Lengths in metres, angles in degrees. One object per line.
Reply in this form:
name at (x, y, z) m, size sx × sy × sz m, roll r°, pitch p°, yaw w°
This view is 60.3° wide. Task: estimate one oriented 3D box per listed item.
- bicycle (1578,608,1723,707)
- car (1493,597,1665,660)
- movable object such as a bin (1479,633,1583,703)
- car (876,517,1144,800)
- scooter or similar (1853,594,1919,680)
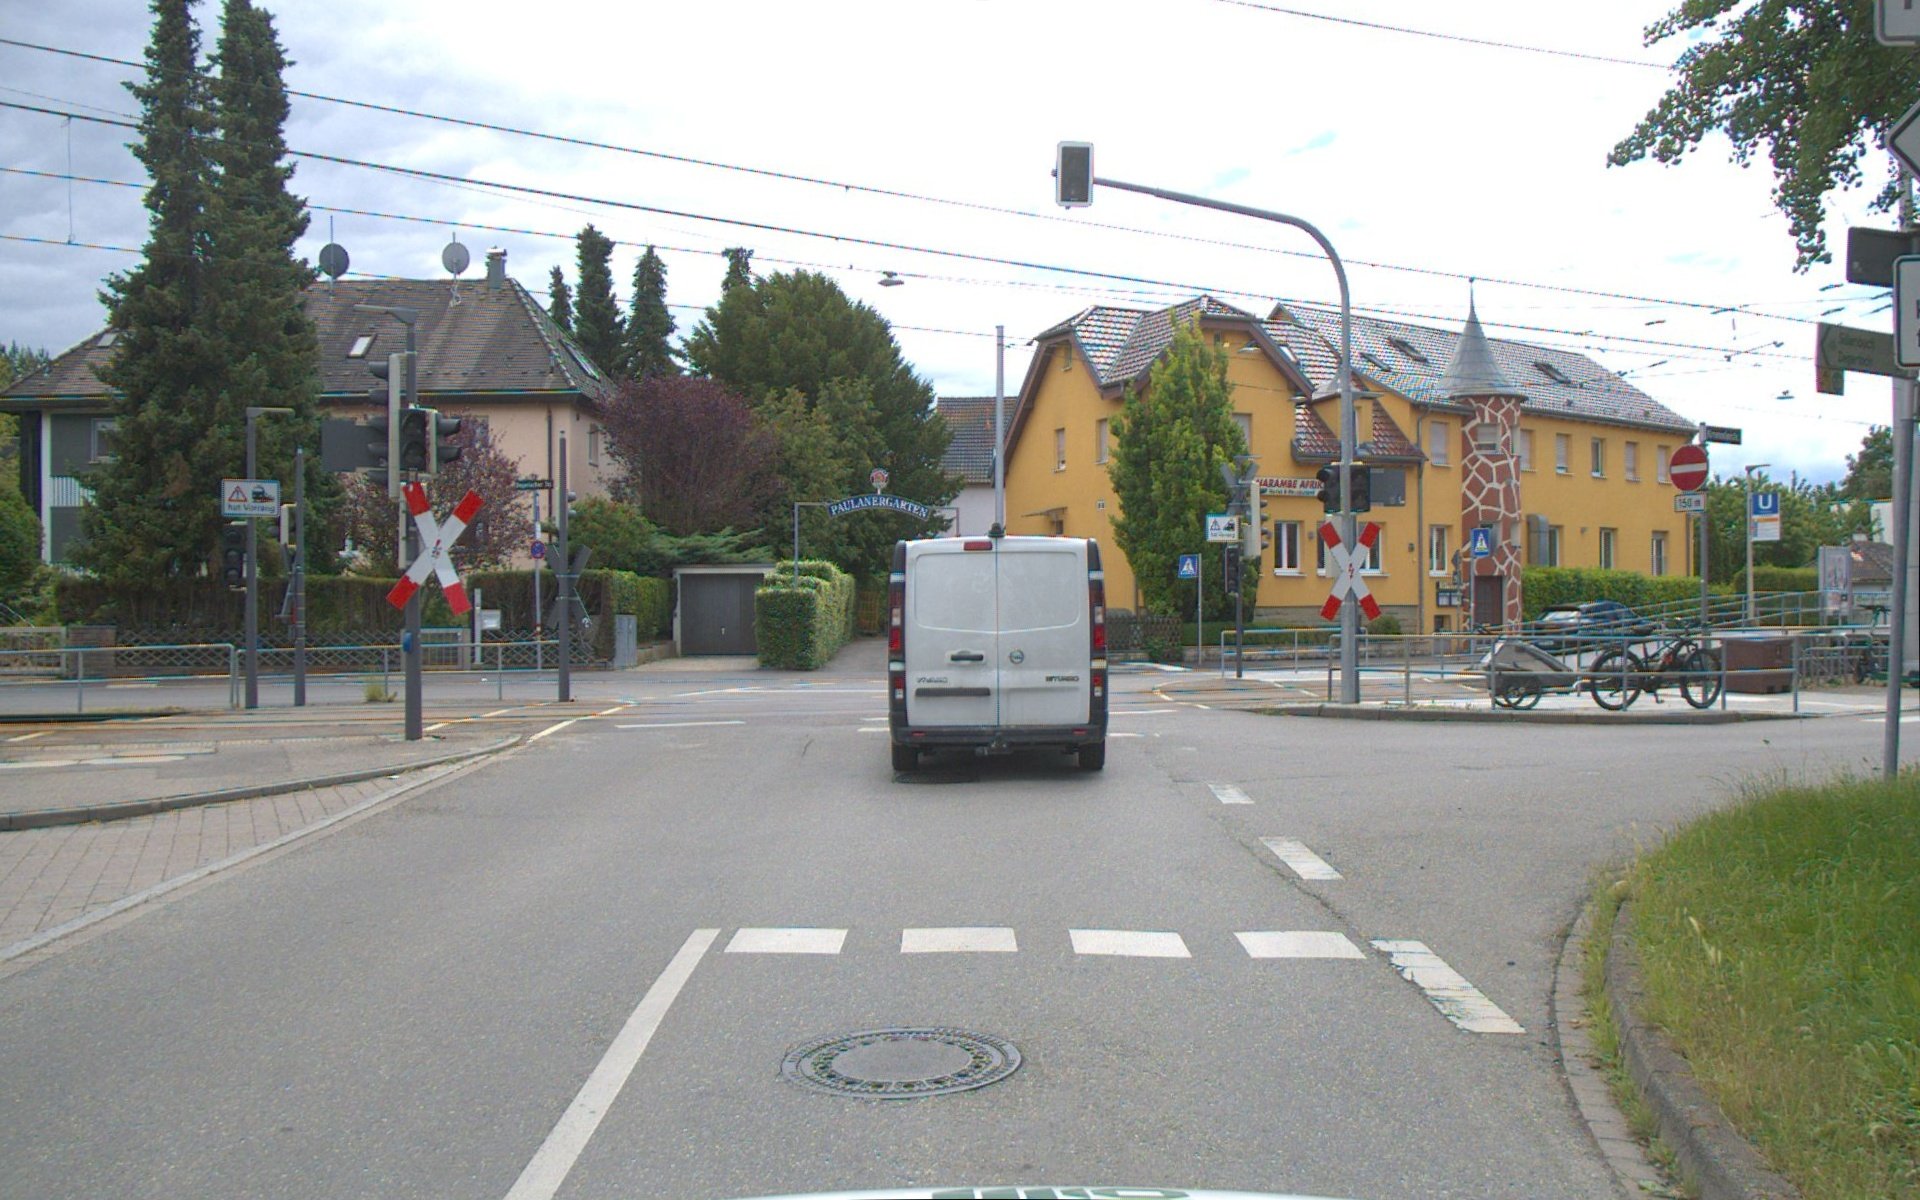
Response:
bicycle at (8.533, 0.701, 20.446) m, size 1.655 × 1.176 × 0.465 m, roll -1°, pitch -1°, yaw -9°
car at (16.764, 0.765, 44.745) m, size 4.320 × 1.591 × 2.335 m, roll 1°, pitch 0°, yaw -34°
movable object such as a bin at (7.029, 0.827, 20.369) m, size 1.070 × 0.839 × 0.579 m, roll 0°, pitch 0°, yaw -6°
car at (0.266, 0.445, 15.495) m, size 2.074 × 2.171 × 5.438 m, roll 0°, pitch 0°, yaw -3°
scooter or similar at (15.003, 0.583, 26.567) m, size 0.483 × 1.339 × 1.040 m, roll -1°, pitch 0°, yaw -30°
